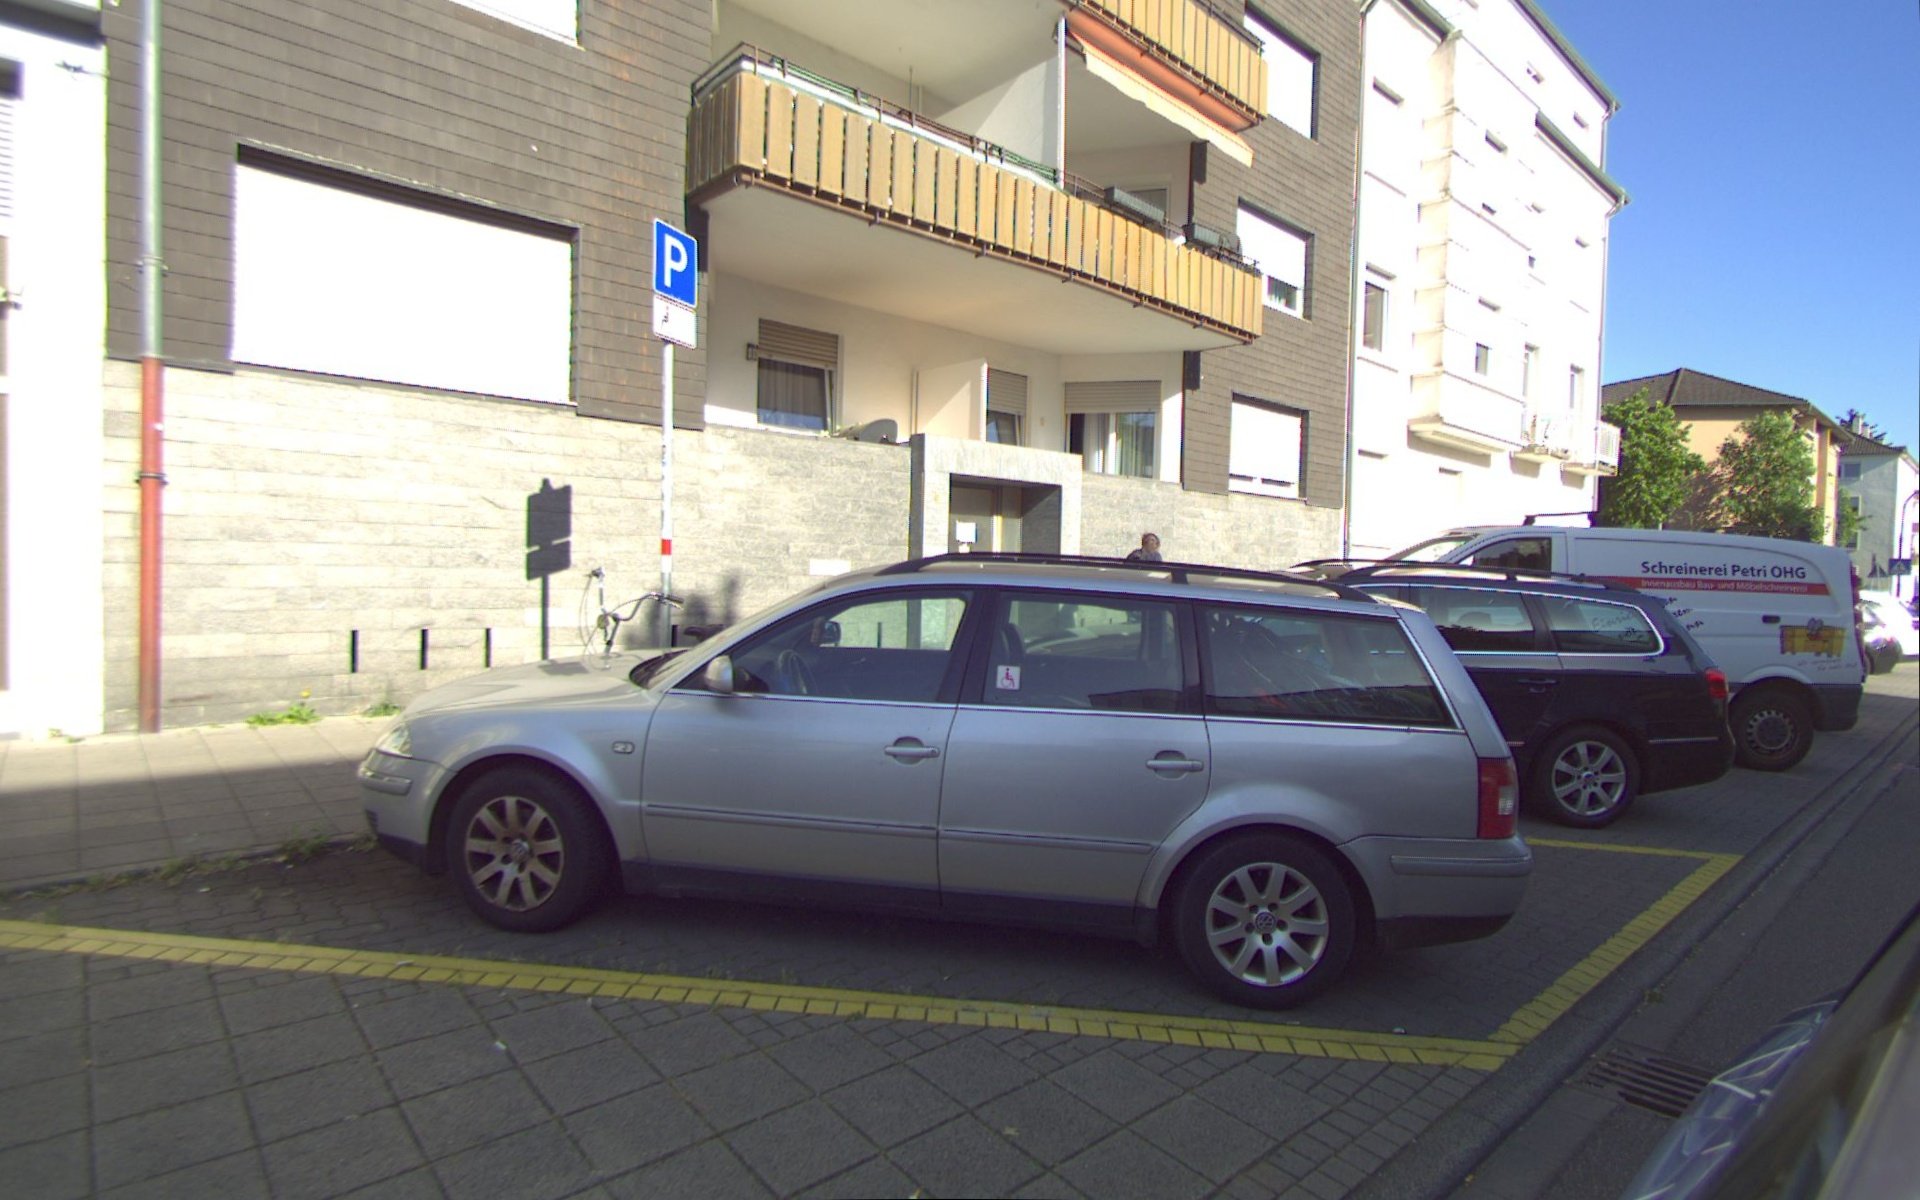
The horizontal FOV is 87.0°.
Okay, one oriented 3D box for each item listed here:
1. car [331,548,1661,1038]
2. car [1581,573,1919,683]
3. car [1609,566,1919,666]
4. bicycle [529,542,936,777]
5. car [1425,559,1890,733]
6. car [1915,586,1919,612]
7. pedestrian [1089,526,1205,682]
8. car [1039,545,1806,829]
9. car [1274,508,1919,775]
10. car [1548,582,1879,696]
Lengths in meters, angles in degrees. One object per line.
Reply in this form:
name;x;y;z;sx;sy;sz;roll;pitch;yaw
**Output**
car;0.024;0.573;4.339;4.566;1.483;1.689;2;3;6
car;12.757;0.385;16.456;4.111;1.515;1.816;1;3;15
car;15.305;0.260;18.942;4.802;1.481;1.965;4;2;14
bicycle;-1.324;0.352;6.082;2.214;1.269;0.708;2;0;-14
car;7.640;0.410;11.553;3.943;1.506;1.609;4;5;17
car;58.038;-0.048;59.905;1.901;1.533;3.941;4;3;40
pedestrian;2.042;0.014;11.068;0.872;1.613;0.835;0;3;-37
car;2.701;0.448;6.775;4.249;1.531;1.756;1;3;4
car;5.381;0.225;9.157;4.453;1.920;2.047;3;4;8
car;10.390;0.489;14.177;3.340;1.405;1.537;1;1;9
